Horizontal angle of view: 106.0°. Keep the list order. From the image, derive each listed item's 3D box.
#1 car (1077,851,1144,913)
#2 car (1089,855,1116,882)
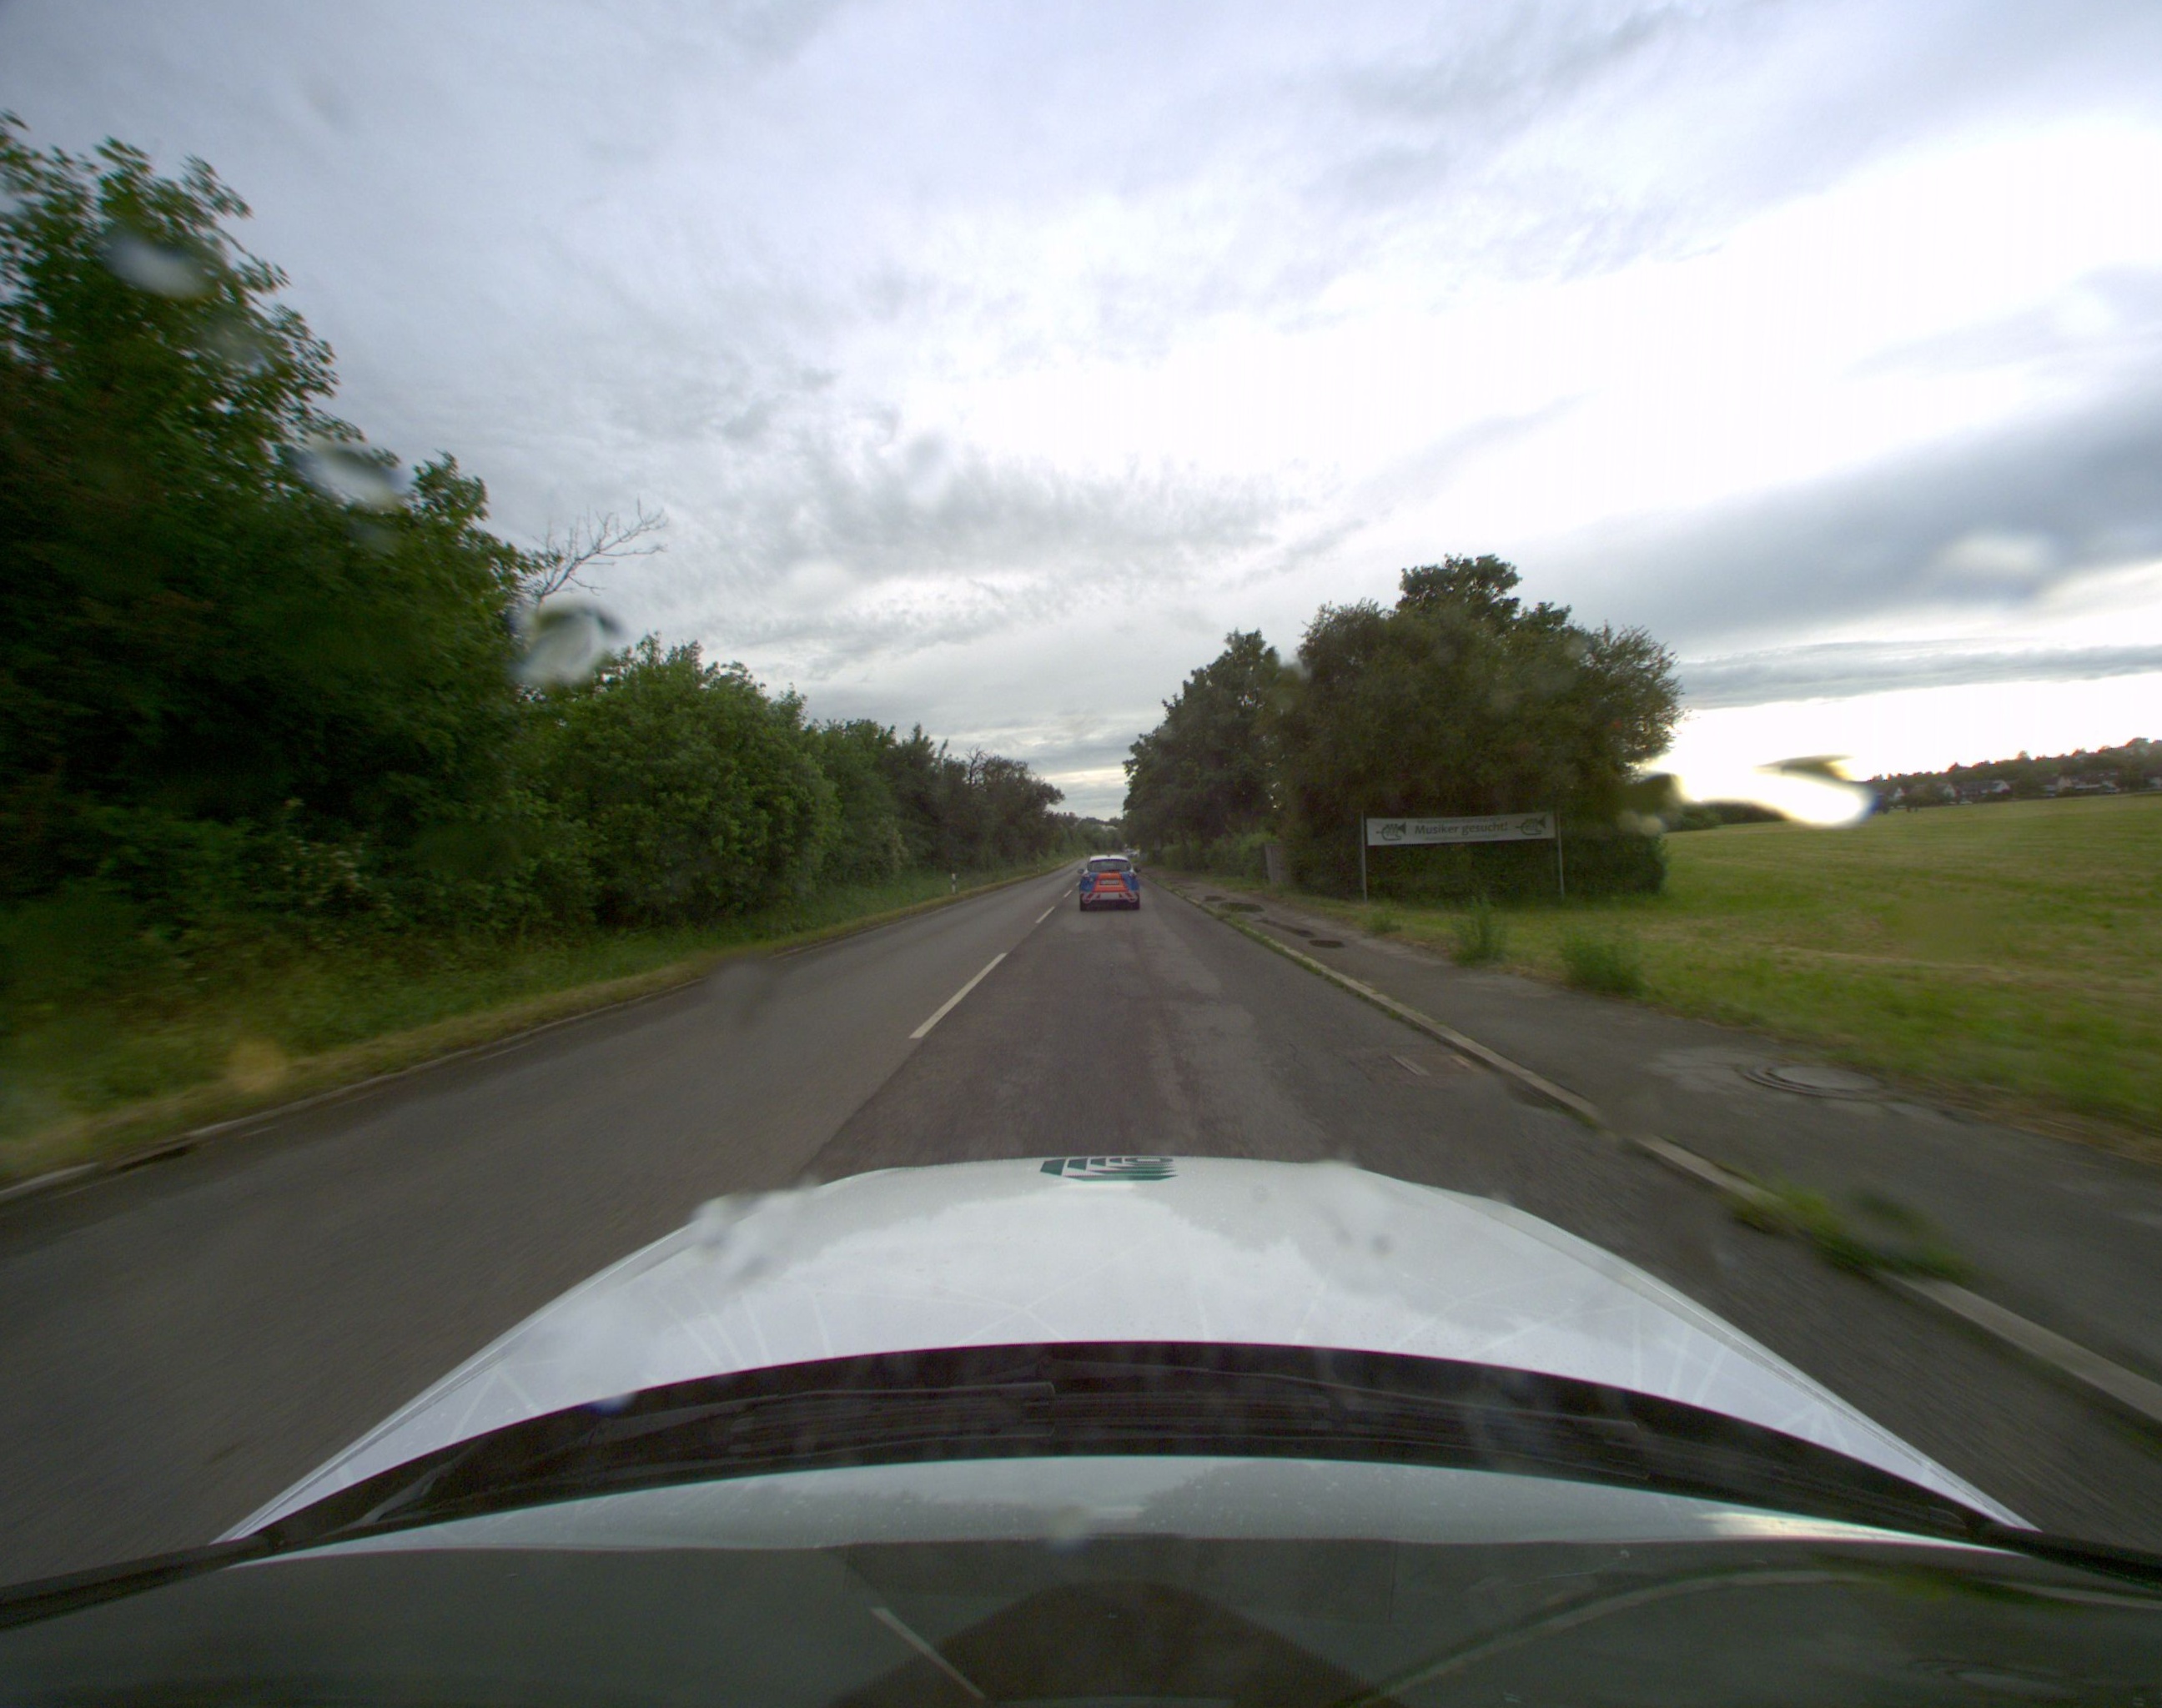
[{"bbox_3d":[0.864,0.774,24.280,1.799,1.668,3.857,-1,0,1],"label":"car"},{"bbox_3d":[1.361,0.896,51.977,1.688,1.595,3.856,-1,0,1],"label":"car"}]
